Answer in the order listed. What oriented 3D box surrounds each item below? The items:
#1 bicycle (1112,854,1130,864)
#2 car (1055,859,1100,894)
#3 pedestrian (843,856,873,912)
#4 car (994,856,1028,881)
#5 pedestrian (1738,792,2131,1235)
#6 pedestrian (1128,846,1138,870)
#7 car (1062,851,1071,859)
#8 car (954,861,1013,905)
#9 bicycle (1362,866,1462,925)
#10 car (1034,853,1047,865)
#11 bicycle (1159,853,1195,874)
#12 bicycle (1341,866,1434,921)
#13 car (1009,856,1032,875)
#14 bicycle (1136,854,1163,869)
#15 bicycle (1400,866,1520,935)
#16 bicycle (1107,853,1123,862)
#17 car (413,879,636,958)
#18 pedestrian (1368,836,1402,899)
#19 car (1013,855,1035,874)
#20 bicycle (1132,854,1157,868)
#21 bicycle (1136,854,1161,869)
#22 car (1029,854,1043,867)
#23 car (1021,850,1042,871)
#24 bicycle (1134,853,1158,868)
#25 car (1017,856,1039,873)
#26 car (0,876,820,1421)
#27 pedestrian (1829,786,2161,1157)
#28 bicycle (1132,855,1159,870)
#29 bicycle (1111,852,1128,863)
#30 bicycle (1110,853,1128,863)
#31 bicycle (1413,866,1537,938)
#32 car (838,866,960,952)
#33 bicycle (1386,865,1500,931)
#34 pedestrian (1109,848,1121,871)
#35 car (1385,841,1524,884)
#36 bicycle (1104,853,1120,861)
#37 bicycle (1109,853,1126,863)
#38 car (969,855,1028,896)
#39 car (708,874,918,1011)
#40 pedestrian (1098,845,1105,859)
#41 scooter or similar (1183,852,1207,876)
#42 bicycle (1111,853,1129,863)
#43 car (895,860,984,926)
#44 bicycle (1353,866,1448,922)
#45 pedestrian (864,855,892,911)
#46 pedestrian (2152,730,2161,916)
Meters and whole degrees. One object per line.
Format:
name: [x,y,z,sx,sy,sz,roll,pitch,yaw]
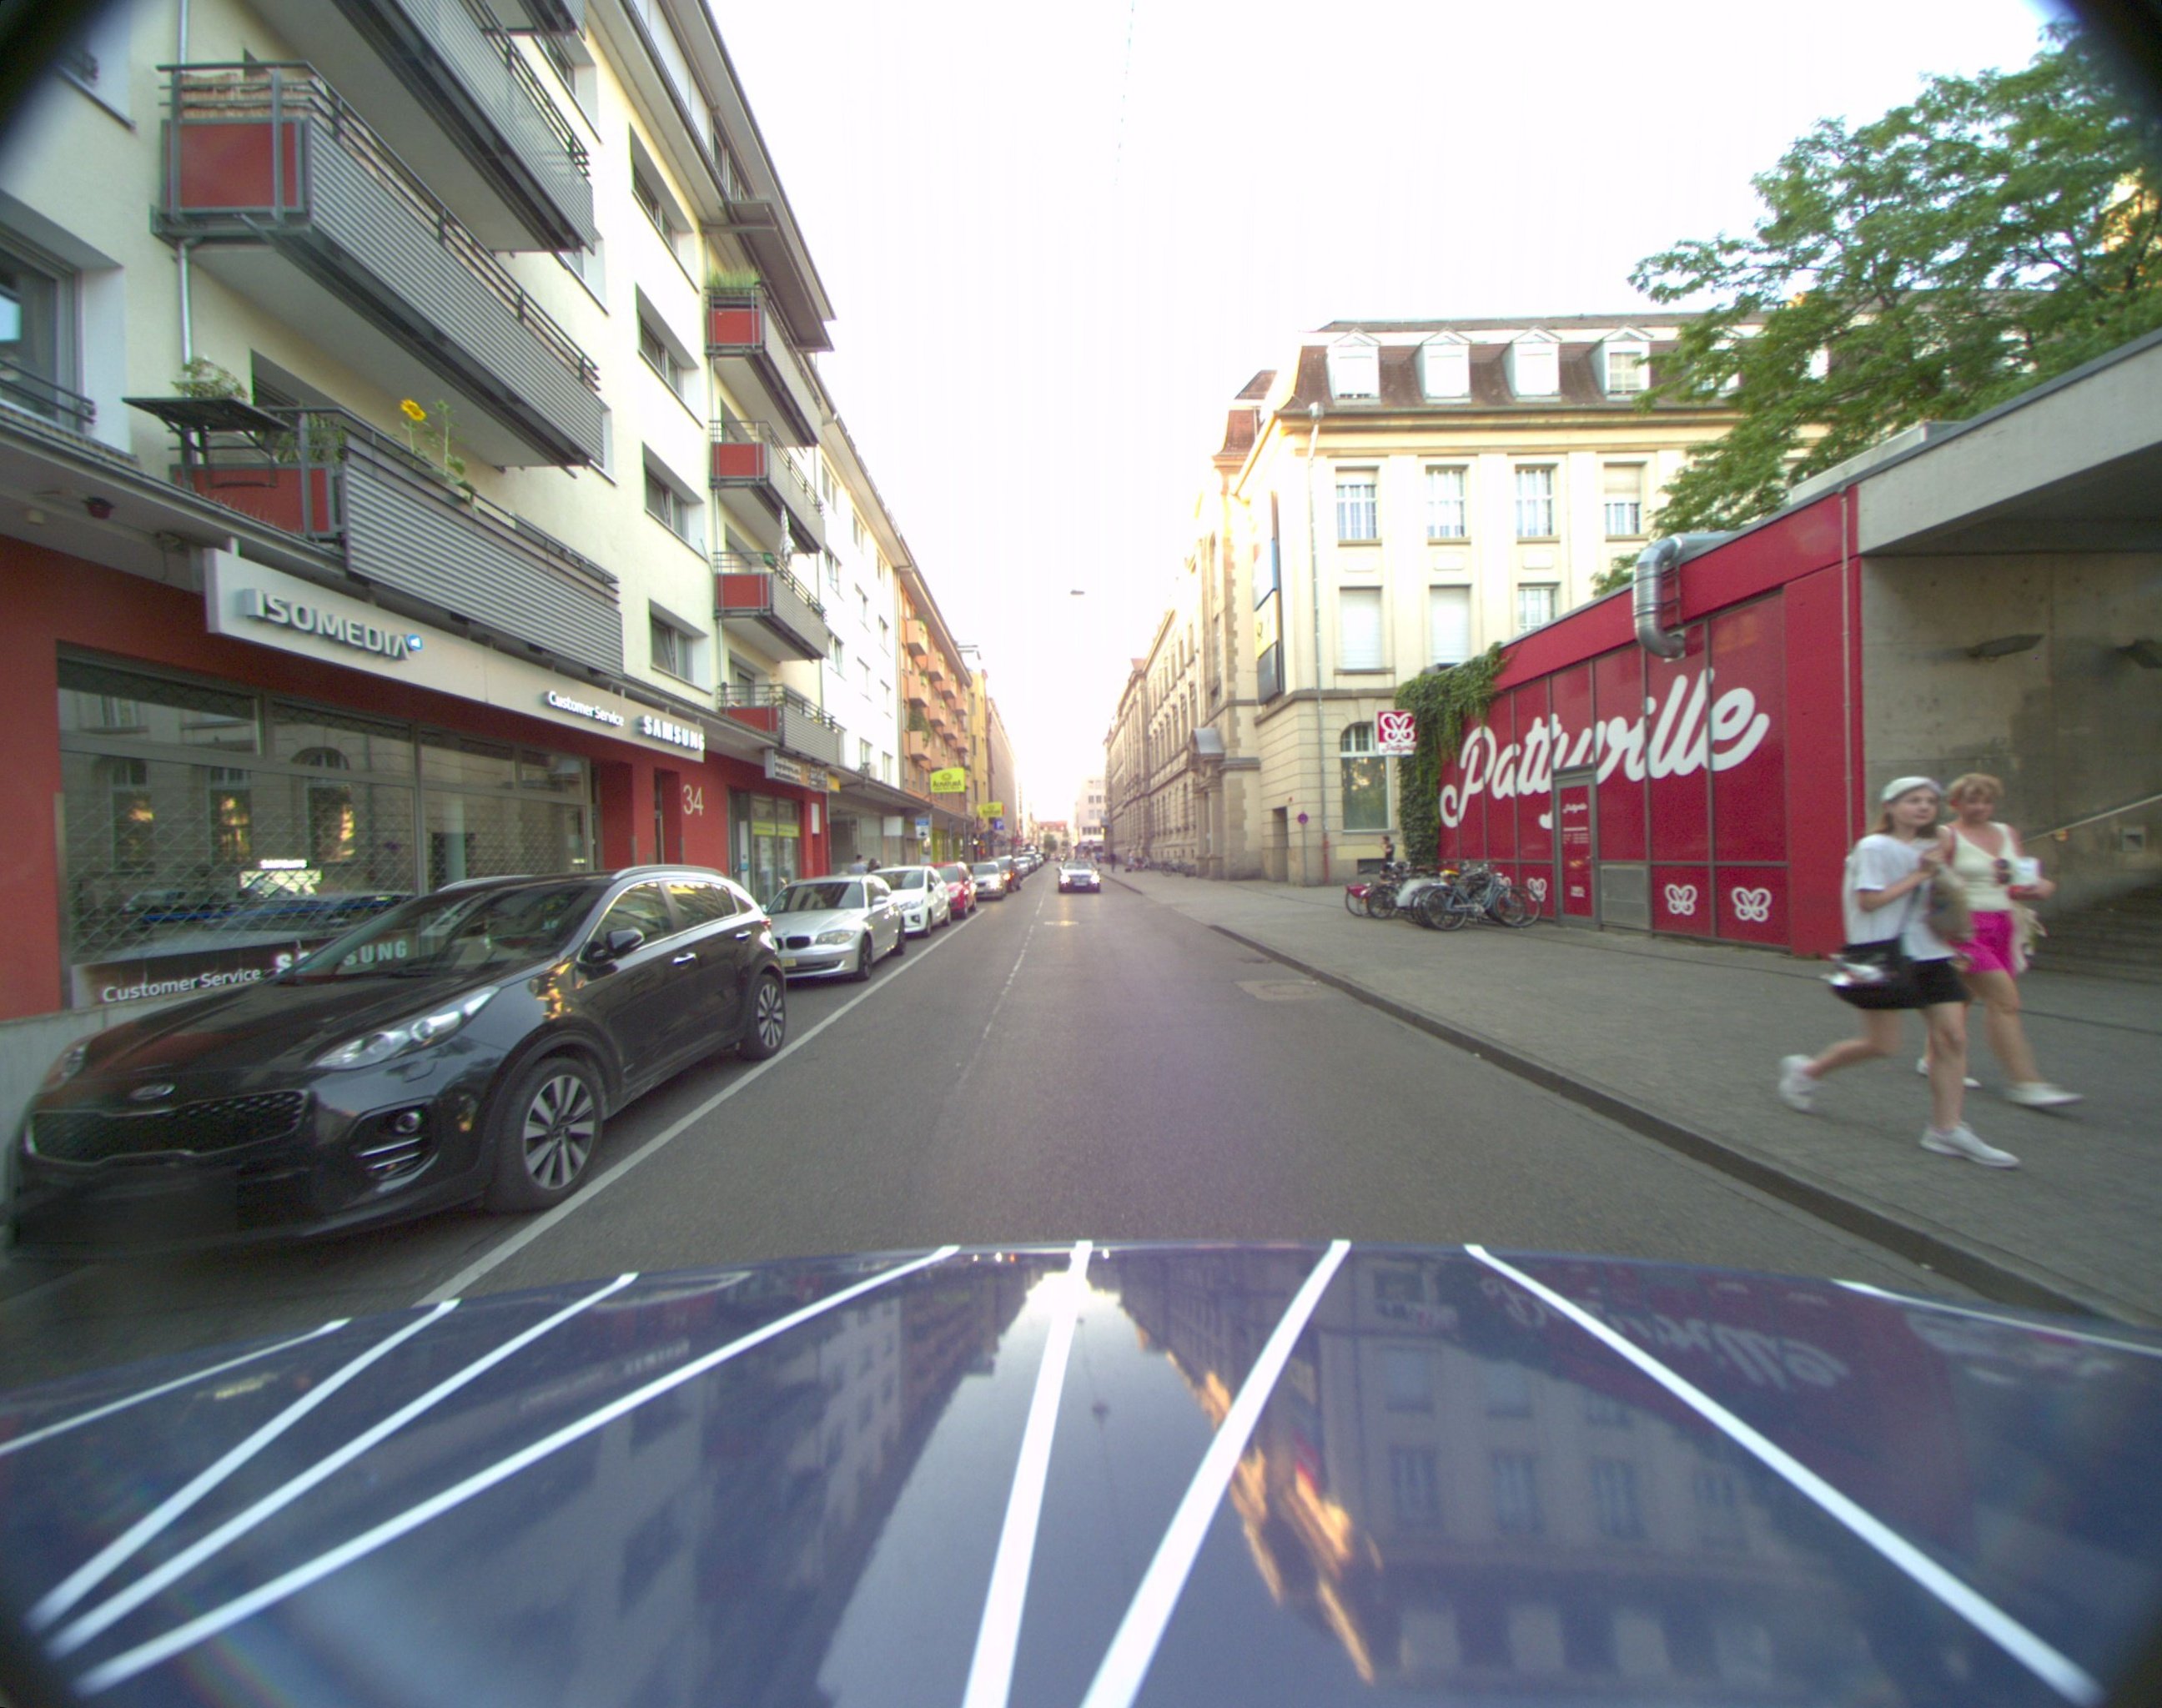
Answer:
bicycle: [4.650,0.551,88.651,1.941,1.040,0.721,-3,0,-6]
car: [-0.219,0.927,32.915,1.741,1.407,4.681,1,0,-3]
pedestrian: [-6.713,0.885,22.869,0.649,1.652,0.794,1,1,1]
car: [-4.441,0.917,48.629,1.696,1.406,4.756,-4,0,-1]
pedestrian: [3.835,0.637,3.523,0.651,1.740,0.985,-3,0,-2]
pedestrian: [4.047,0.282,59.294,0.589,1.840,0.754,-4,1,-7]
car: [-3.345,0.330,172.163,1.824,1.728,3.999,-2,0,-2]
car: [-3.634,1.027,29.053,1.741,1.407,4.681,-4,0,-3]
bicycle: [6.802,0.846,15.644,1.799,1.101,0.500,-2,1,-2]
car: [-6.001,0.693,112.765,1.781,1.656,4.811,-3,1,-3]
bicycle: [5.696,0.549,44.923,1.944,1.055,0.619,-5,2,-16]
bicycle: [6.652,0.853,16.523,1.799,1.101,0.500,-2,1,-1]
car: [-4.854,0.924,61.474,1.696,1.403,4.637,-4,0,-4]
bicycle: [5.322,0.552,58.823,1.943,1.055,0.619,-4,1,-7]
bicycle: [6.647,0.806,13.368,1.798,1.101,0.500,-3,1,2]
bicycle: [4.404,0.431,97.731,1.943,1.072,0.729,-4,1,-8]
car: [-11.643,1.274,16.290,1.744,1.329,4.000,-2,0,1]
pedestrian: [9.194,0.410,22.996,0.617,1.845,0.634,-4,1,-28]
car: [-4.971,0.894,66.643,1.622,1.507,4.173,-4,0,-2]
bicycle: [5.276,0.576,63.057,1.943,1.055,0.619,-4,1,-7]
bicycle: [5.313,0.573,59.638,1.800,1.101,0.500,-4,1,-7]
car: [-5.661,0.845,95.766,1.661,1.439,4.307,-3,1,-2]
car: [-5.132,0.647,78.842,1.851,2.046,5.052,-3,1,-2]
bicycle: [5.233,0.547,60.836,1.800,1.101,0.500,-4,1,-7]
car: [-4.970,0.985,71.758,1.691,1.444,4.497,-4,0,0]
car: [-3.430,1.078,4.943,1.769,1.632,4.790,-4,0,-1]
pedestrian: [4.854,0.567,4.078,0.755,1.739,0.846,-4,0,-2]
bicycle: [4.917,0.653,57.774,1.942,1.055,0.619,-4,2,-3]
bicycle: [4.544,0.392,89.566,1.942,1.072,0.748,-4,1,-2]
bicycle: [4.564,0.443,91.605,1.943,1.072,0.729,-4,1,-8]
bicycle: [6.663,0.807,12.898,1.798,1.101,0.500,-3,1,2]
car: [-3.824,1.089,16.651,1.610,1.503,4.048,-4,0,0]
bicycle: [6.650,0.803,14.000,1.798,1.101,0.500,-3,1,2]
pedestrian: [2.698,0.415,59.985,0.811,1.740,0.969,-3,1,-1]
car: [13.088,0.301,26.766,4.016,1.363,1.750,-2,0,-2]
bicycle: [4.302,0.421,104.672,2.027,1.072,0.729,-4,1,-20]
bicycle: [4.450,0.442,92.918,1.943,1.072,0.729,-4,1,-8]
car: [-3.662,0.908,34.428,1.798,1.600,4.487,-4,0,3]
car: [-3.731,1.133,11.475,1.703,1.443,4.457,-4,0,-3]
pedestrian: [2.771,-0.248,101.660,0.831,1.736,0.769,-4,1,-1]
scooter or similar: [6.175,0.546,41.144,1.137,1.225,0.496,-3,1,-13]
bicycle: [4.651,0.441,90.835,1.943,1.072,0.729,-4,1,-8]
car: [-3.809,0.988,21.185,1.717,1.503,4.651,-4,0,-3]
bicycle: [6.788,0.845,16.179,1.799,1.101,0.500,-2,1,-2]
pedestrian: [-6.100,0.869,22.872,0.649,1.652,0.655,1,1,1]
pedestrian: [10.549,-0.310,6.789,0.847,1.744,0.719,-3,0,2]
